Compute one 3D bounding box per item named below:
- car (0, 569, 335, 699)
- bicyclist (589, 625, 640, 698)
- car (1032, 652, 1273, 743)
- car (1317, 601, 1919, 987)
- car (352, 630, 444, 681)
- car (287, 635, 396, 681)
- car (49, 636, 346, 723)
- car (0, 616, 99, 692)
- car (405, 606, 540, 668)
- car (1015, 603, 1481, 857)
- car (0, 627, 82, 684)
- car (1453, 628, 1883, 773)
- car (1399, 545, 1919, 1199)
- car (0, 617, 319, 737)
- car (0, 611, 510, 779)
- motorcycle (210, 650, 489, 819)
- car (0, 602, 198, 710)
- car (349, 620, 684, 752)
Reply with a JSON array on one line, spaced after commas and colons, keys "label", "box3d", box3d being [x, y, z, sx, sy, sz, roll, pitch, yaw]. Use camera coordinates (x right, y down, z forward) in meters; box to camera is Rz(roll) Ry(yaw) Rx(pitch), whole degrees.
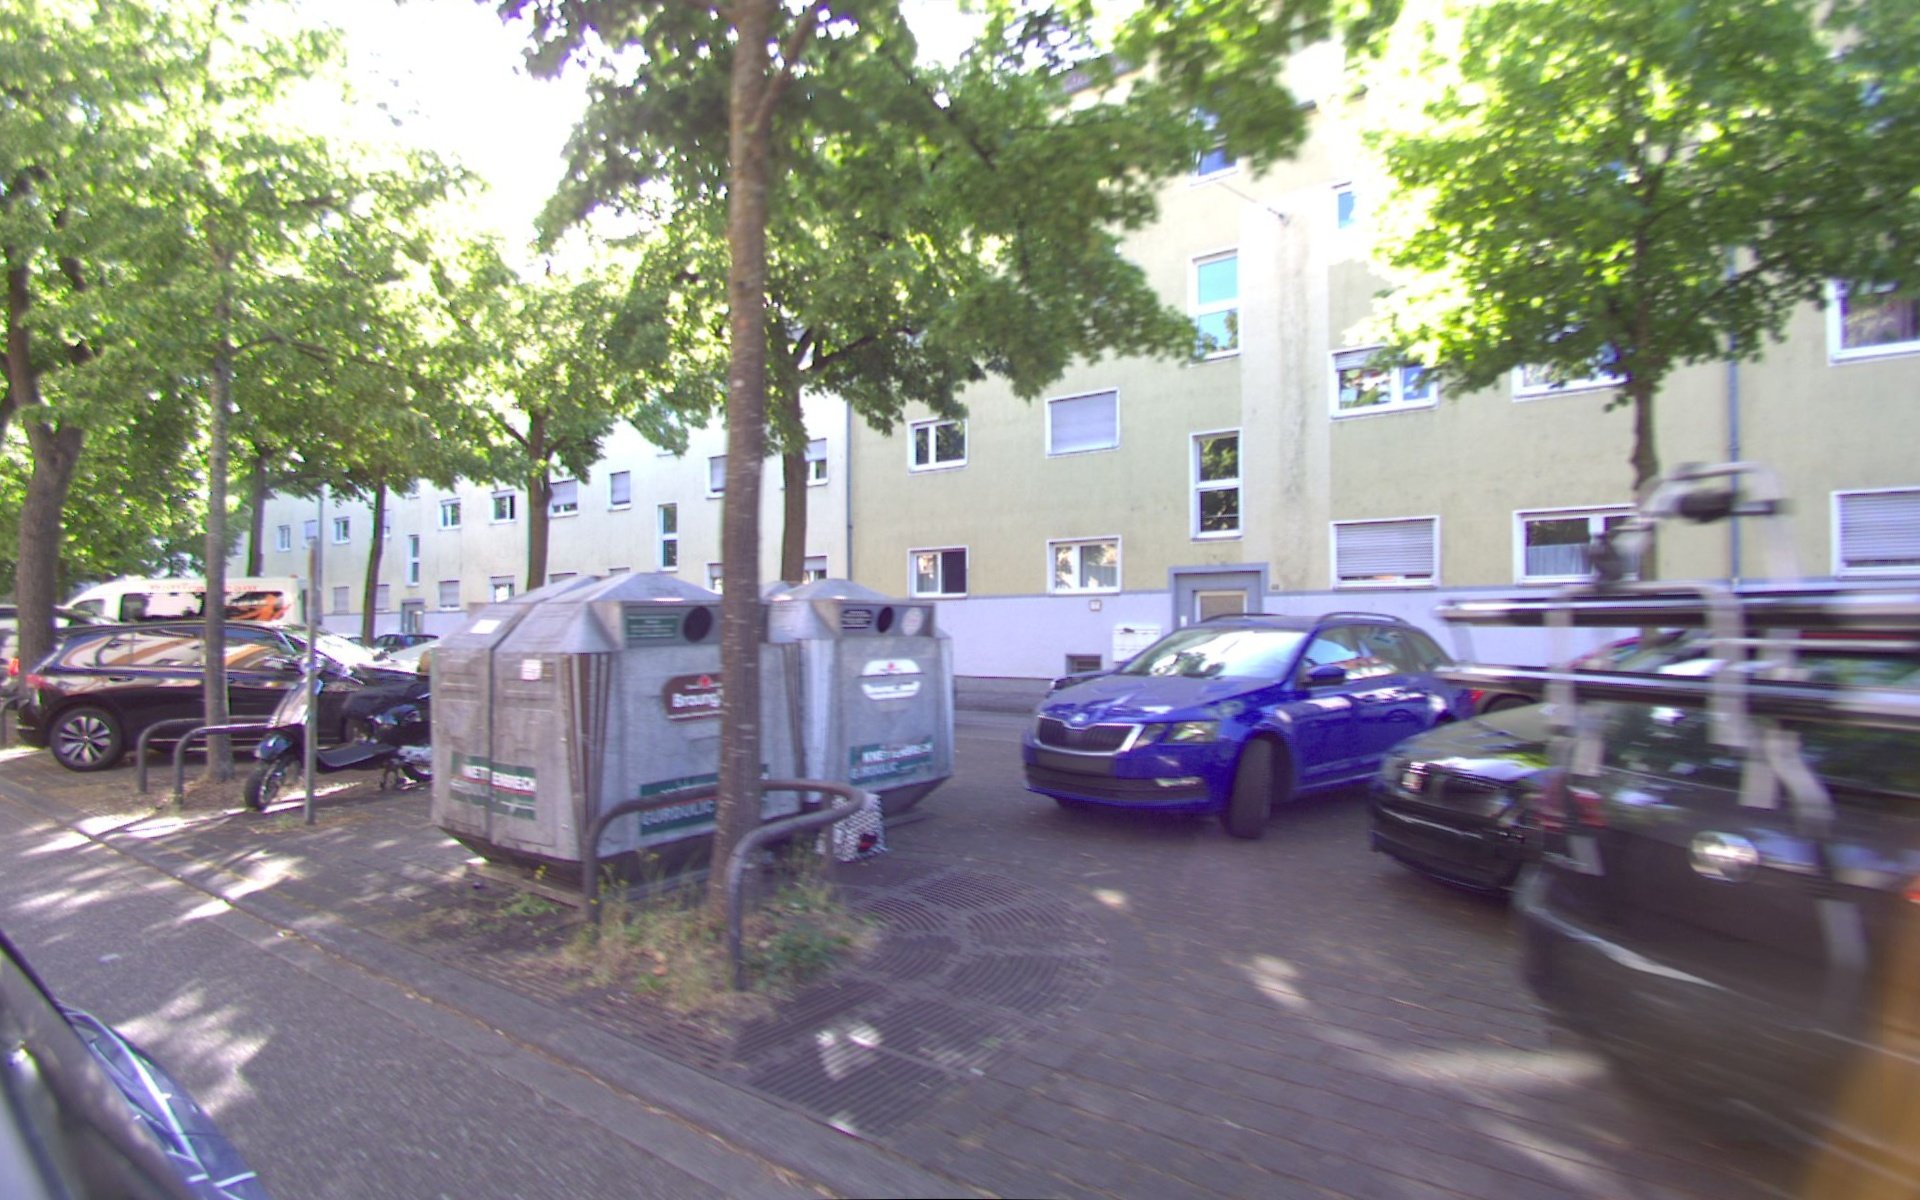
[{"label": "car", "box3d": [-17.597, 0.800, 22.333, 5.981, 2.643, 2.462, 1, -4, -17]}, {"label": "bicyclist", "box3d": [-7.935, 1.402, 23.247, 0.926, 1.634, 0.709, -1, -2, 36]}, {"label": "car", "box3d": [3.143, 1.552, 16.845, 3.635, 1.331, 1.570, -2, -4, 37]}, {"label": "car", "box3d": [4.071, 0.750, 5.109, 3.932, 1.414, 1.792, 0, -2, -15]}, {"label": "car", "box3d": [-18.889, 1.840, 33.998, 3.178, 1.571, 1.461, -2, 0, 36]}, {"label": "car", "box3d": [-22.496, 2.077, 36.782, 4.151, 1.577, 1.876, -2, -4, 35]}, {"label": "car", "box3d": [-12.068, 1.210, 16.306, 3.505, 1.257, 1.663, 1, -2, -23]}, {"label": "car", "box3d": [-22.644, 1.260, 23.107, 4.202, 1.654, 1.660, -1, 0, -20]}, {"label": "car", "box3d": [-14.798, 1.143, 30.640, 4.549, 1.736, 1.726, -2, -3, 36]}, {"label": "car", "box3d": [2.344, 0.818, 7.776, 3.740, 1.477, 1.647, 1, -3, -41]}, {"label": "car", "box3d": [-26.426, 1.490, 27.124, 4.038, 1.492, 1.737, 0, -1, -22]}, {"label": "car", "box3d": [8.590, 1.142, 12.654, 4.158, 1.538, 1.515, -2, -3, 36]}, {"label": "car", "box3d": [3.447, 0.658, 2.462, 4.073, 1.493, 1.780, 0, -1, -12]}, {"label": "car", "box3d": [-11.875, 1.067, 15.109, 3.673, 1.594, 1.642, 0, -1, -22]}, {"label": "car", "box3d": [-7.178, 0.920, 10.750, 4.086, 1.566, 1.837, 0, -2, -11]}, {"label": "motorcycle", "box3d": [-4.875, 1.012, 8.247, 0.516, 1.180, 1.925, -1, -2, 30]}, {"label": "car", "box3d": [-16.884, 1.034, 18.945, 3.785, 1.903, 1.849, 0, -2, -18]}, {"label": "car", "box3d": [-6.178, 1.090, 14.250, 4.034, 1.477, 1.872, -1, 0, -34]}]
